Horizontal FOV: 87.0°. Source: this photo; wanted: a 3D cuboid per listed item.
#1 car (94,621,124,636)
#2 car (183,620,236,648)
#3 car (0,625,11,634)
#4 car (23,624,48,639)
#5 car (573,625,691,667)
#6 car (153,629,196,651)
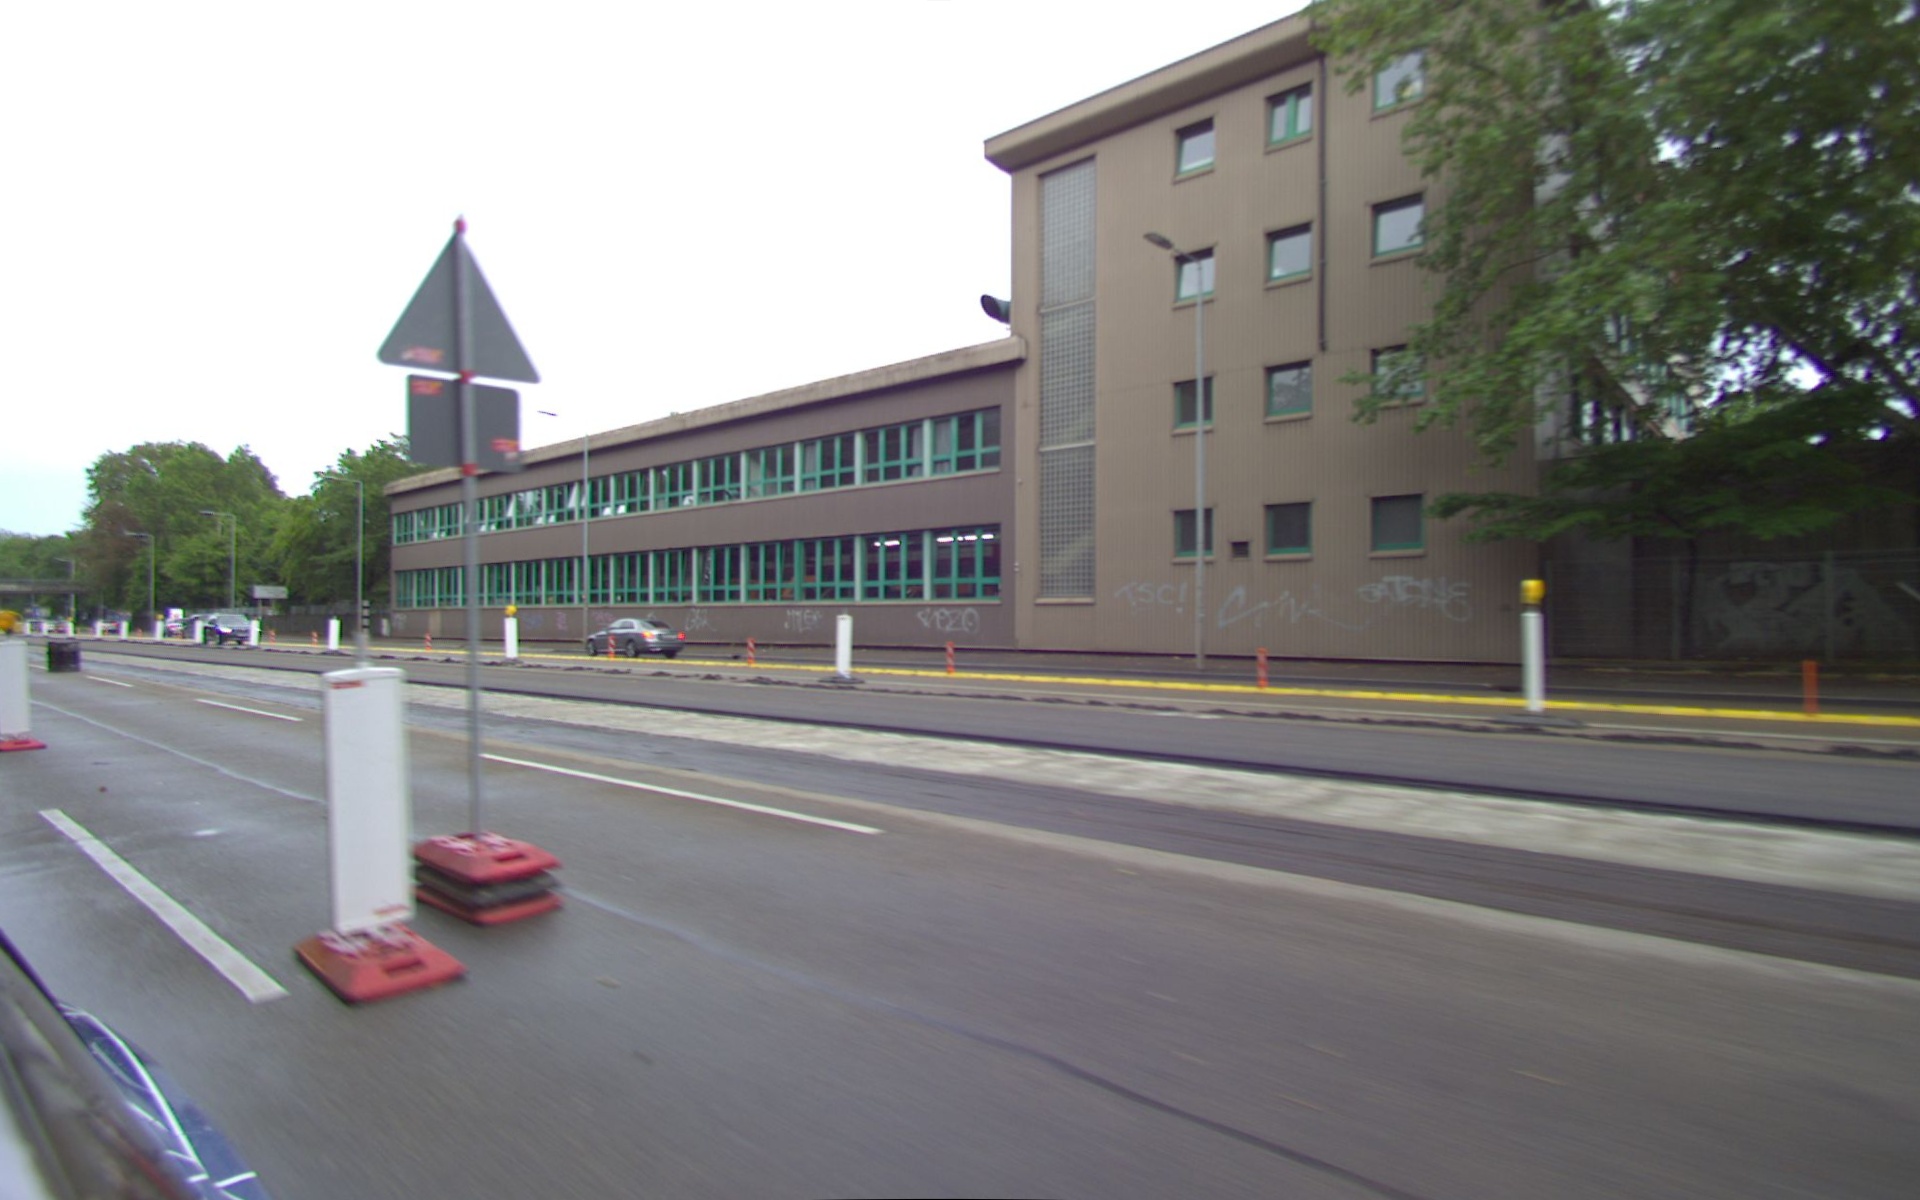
[{"bbox_3d":[-93.903,3.086,111.671,4.177,1.598,1.973,-1,0,41],"label":"car"},{"bbox_3d":[-51.303,2.303,69.167,4.953,1.794,1.972,-1,-1,42],"label":"car"},{"bbox_3d":[-156.739,4.887,165.412,4.262,1.440,1.973,-2,-1,40],"label":"car"},{"bbox_3d":[-118.894,4.037,130.173,4.674,1.781,1.967,-1,-1,43],"label":"car"},{"bbox_3d":[-12.040,1.628,36.981,4.789,1.358,1.972,-1,0,42],"label":"car"},{"bbox_3d":[-67.891,3.426,87.446,4.932,1.719,1.918,-1,0,40],"label":"car"}]
